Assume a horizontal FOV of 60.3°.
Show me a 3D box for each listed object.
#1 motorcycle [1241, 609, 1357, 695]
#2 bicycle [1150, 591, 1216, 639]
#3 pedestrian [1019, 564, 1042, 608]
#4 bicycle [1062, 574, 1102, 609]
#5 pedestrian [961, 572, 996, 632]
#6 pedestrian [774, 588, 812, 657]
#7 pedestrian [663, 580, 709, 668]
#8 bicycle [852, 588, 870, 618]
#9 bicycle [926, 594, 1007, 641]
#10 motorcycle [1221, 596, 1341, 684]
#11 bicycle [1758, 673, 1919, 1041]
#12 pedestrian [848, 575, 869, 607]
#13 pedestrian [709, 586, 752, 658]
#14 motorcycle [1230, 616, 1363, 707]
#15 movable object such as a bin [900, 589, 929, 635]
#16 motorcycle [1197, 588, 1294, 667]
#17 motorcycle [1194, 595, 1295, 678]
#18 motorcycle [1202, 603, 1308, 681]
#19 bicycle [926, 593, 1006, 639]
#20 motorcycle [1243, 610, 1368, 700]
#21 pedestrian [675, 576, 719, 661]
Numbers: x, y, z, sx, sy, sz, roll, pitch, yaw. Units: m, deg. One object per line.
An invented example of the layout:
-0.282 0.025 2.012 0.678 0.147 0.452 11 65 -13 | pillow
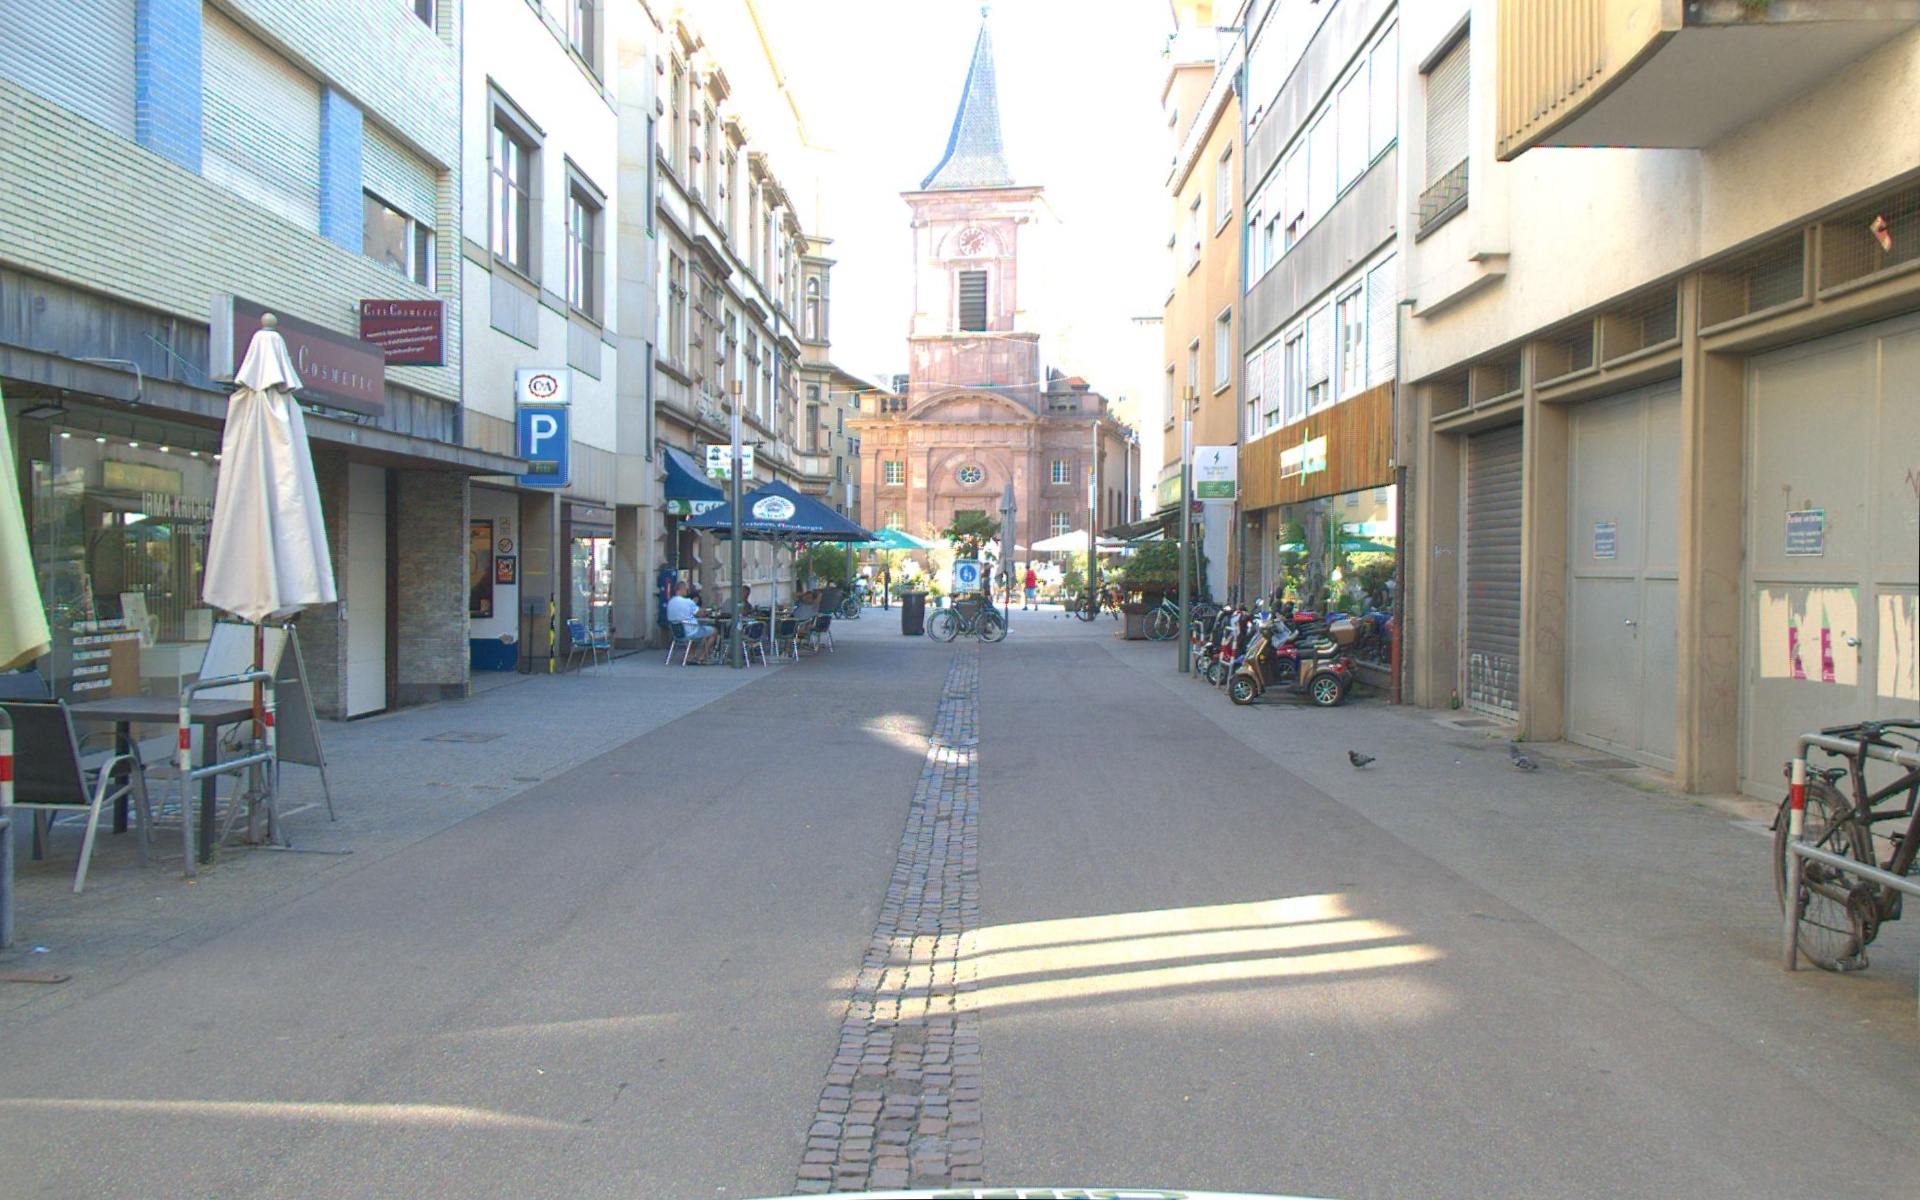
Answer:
4.436 0.664 21.655 1.452 1.094 0.412 0 0 19 | motorcycle
4.928 0.326 36.561 1.432 1.022 0.573 0 1 7 | bicycle
2.683 -0.520 63.109 0.607 1.669 0.648 0 1 -41 | pedestrian
4.637 -0.331 62.764 1.568 1.330 0.362 0 1 -29 | bicycle
0.459 0.040 41.495 0.865 1.489 0.731 0 1 1 | pedestrian
-3.056 0.407 30.242 0.679 1.236 0.582 0 1 -8 | pedestrian
-4.415 0.377 26.623 0.695 1.392 0.718 0 1 -12 | pedestrian
-2.945 0.075 49.358 0.447 0.864 2.146 0 1 -1 | bicycle
0.145 0.391 36.980 1.787 1.022 0.381 0 1 -3 | bicycle
4.447 0.544 22.926 1.590 1.195 0.481 0 0 19 | motorcycle
3.443 0.880 5.973 0.437 1.160 1.711 1 0 6 | bicycle
-3.877 -0.356 63.473 0.685 1.239 0.720 0 1 6 | pedestrian
-4.101 0.386 29.590 0.750 1.254 0.830 0 1 -7 | pedestrian
4.057 0.729 19.955 1.531 1.060 0.373 0 0 19 | motorcycle
-1.109 0.290 40.255 0.707 1.093 0.374 0 1 -1 | movable object such as a bin
4.429 0.421 25.641 1.452 1.202 0.412 0 0 16 | motorcycle
4.225 0.532 24.559 1.452 1.202 0.412 0 0 16 | motorcycle
4.229 0.590 23.690 1.452 1.094 0.412 0 0 19 | motorcycle
0.124 0.362 37.384 1.787 1.022 0.381 0 1 -3 | bicycle
4.321 0.673 20.692 1.485 1.094 0.412 0 0 19 | motorcycle
-4.420 0.301 27.741 0.705 1.392 0.708 0 1 -12 | pedestrian
